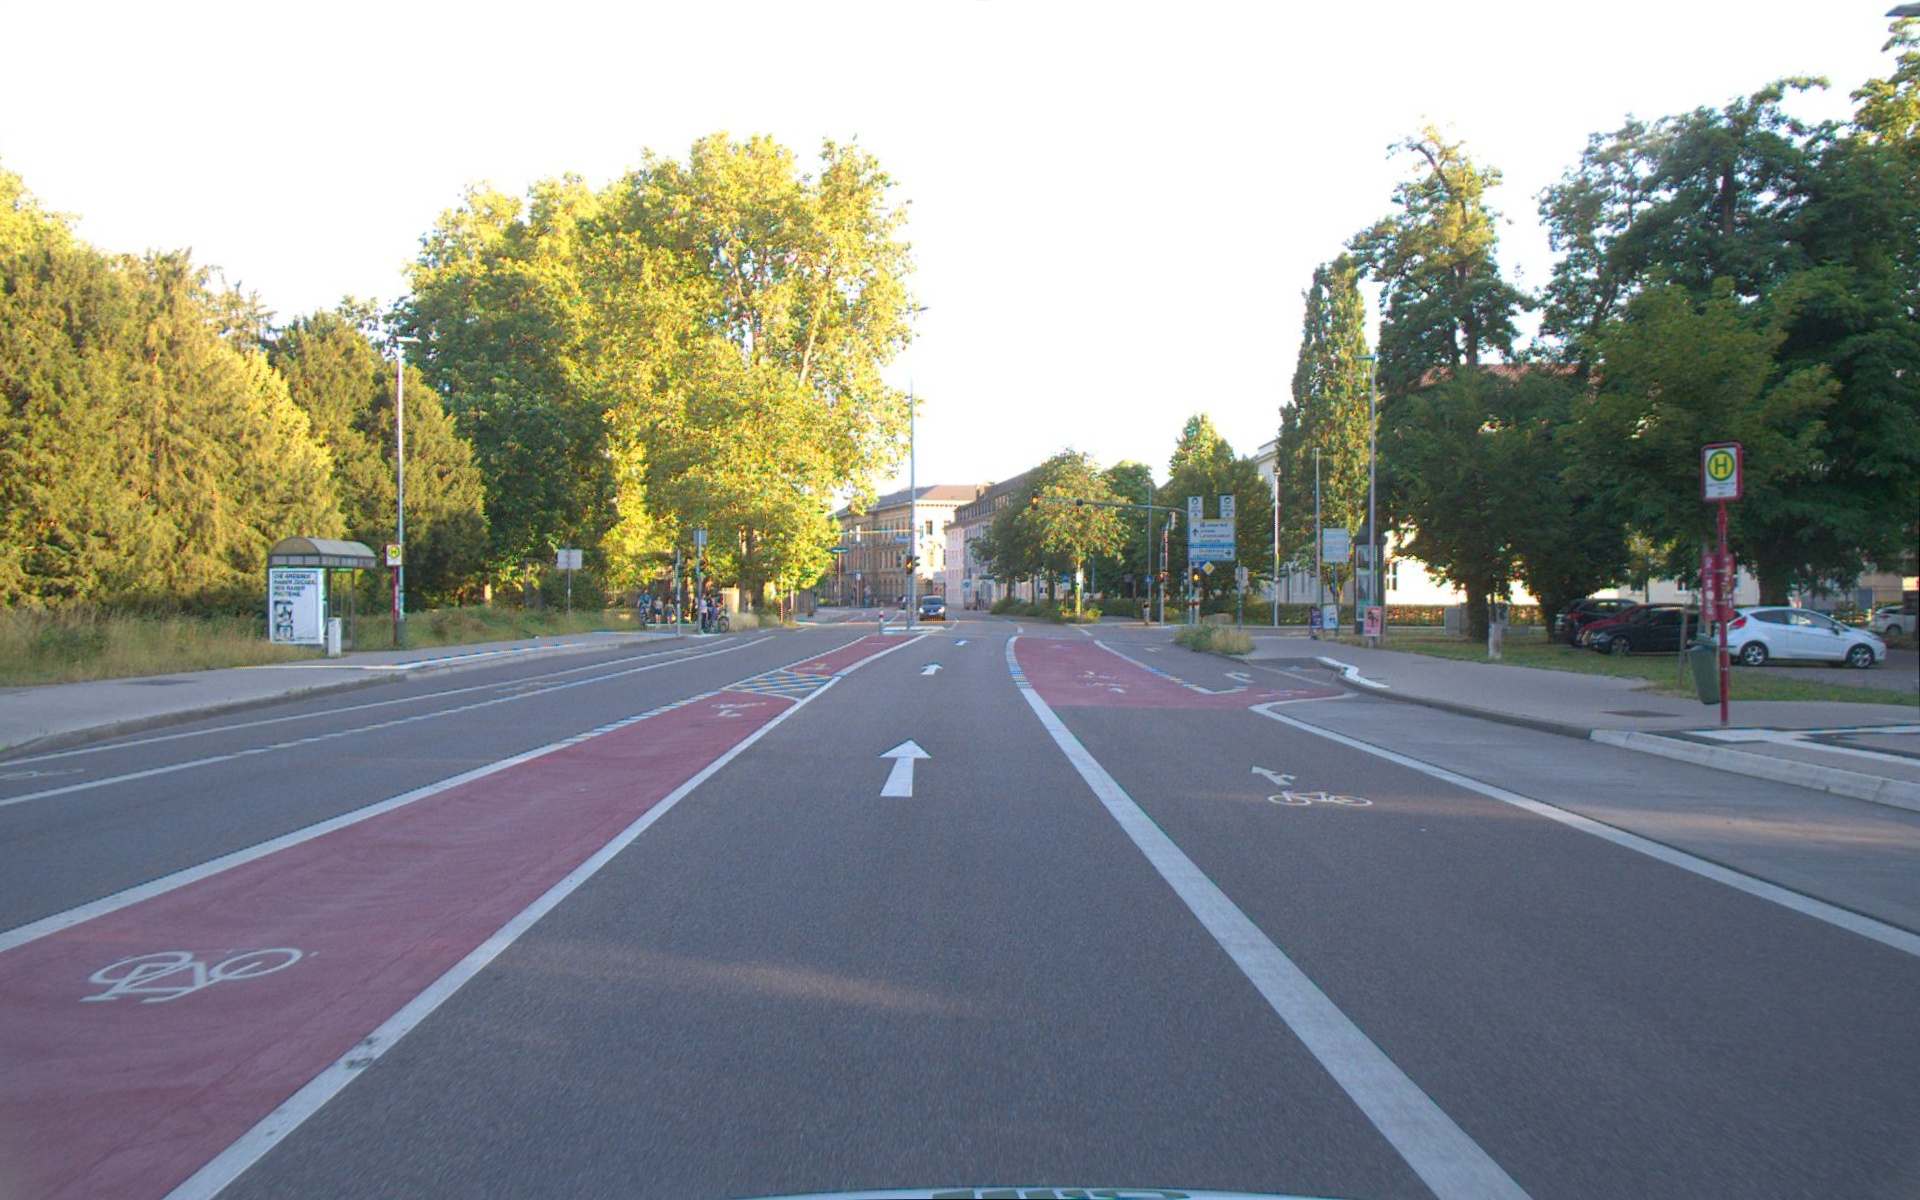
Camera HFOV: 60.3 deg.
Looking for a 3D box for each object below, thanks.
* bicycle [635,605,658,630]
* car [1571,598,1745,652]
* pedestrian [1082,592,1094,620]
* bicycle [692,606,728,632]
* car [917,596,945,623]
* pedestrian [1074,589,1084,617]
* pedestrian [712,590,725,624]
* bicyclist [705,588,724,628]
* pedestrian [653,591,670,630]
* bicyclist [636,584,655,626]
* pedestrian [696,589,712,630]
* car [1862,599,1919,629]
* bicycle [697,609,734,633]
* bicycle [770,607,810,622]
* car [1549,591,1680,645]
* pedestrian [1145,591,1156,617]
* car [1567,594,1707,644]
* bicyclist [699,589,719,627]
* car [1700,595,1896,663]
[{"bbox_3d":[-14.169,0.770,74.767,0.755,1.120,2.121,0,0,-4],"label":"bicycle"},{"bbox_3d":[21.244,0.782,50.476,4.473,1.474,1.901,-2,-2,4],"label":"car"},{"bbox_3d":[9.487,0.437,122.470,0.852,2.049,0.722,1,0,2],"label":"pedestrian"},{"bbox_3d":[-11.034,0.832,72.917,1.536,1.131,0.631,0,0,33],"label":"bicycle"},{"bbox_3d":[-1.986,0.656,112.172,1.812,1.750,4.294,-2,0,-1],"label":"car"},{"bbox_3d":[8.817,0.196,122.332,0.622,2.049,0.720,1,0,-2],"label":"pedestrian"},{"bbox_3d":[-14.794,0.442,101.435,0.626,2.049,0.701,0,0,4],"label":"pedestrian"},{"bbox_3d":[-11.070,0.349,74.610,0.626,1.811,0.574,0,0,33],"label":"bicyclist"},{"bbox_3d":[-15.786,0.559,87.466,0.644,2.049,0.598,1,0,-36],"label":"pedestrian"},{"bbox_3d":[-14.192,0.227,74.659,0.720,1.856,0.712,0,-2,1],"label":"bicyclist"},{"bbox_3d":[-10.957,0.396,70.774,0.594,1.725,0.498,0,0,3],"label":"pedestrian"},{"bbox_3d":[44.506,0.654,77.101,3.902,1.365,1.822,0,0,8],"label":"car"},{"bbox_3d":[-11.032,0.945,74.587,1.735,1.048,0.578,0,0,33],"label":"bicycle"},{"bbox_3d":[-10.410,0.894,101.221,2.379,0.940,0.775,0,0,3],"label":"bicycle"},{"bbox_3d":[22.370,0.604,56.662,3.814,1.724,1.838,1,0,6],"label":"car"},{"bbox_3d":[12.327,0.237,106.929,0.587,1.664,0.691,1,0,-2],"label":"pedestrian"},{"bbox_3d":[21.915,0.610,53.675,3.902,1.588,1.787,0,0,9],"label":"car"},{"bbox_3d":[-11.075,0.348,72.950,0.626,1.678,0.629,0,0,33],"label":"bicyclist"},{"bbox_3d":[20.728,0.710,41.040,3.902,1.564,1.913,1,0,5],"label":"car"}]
